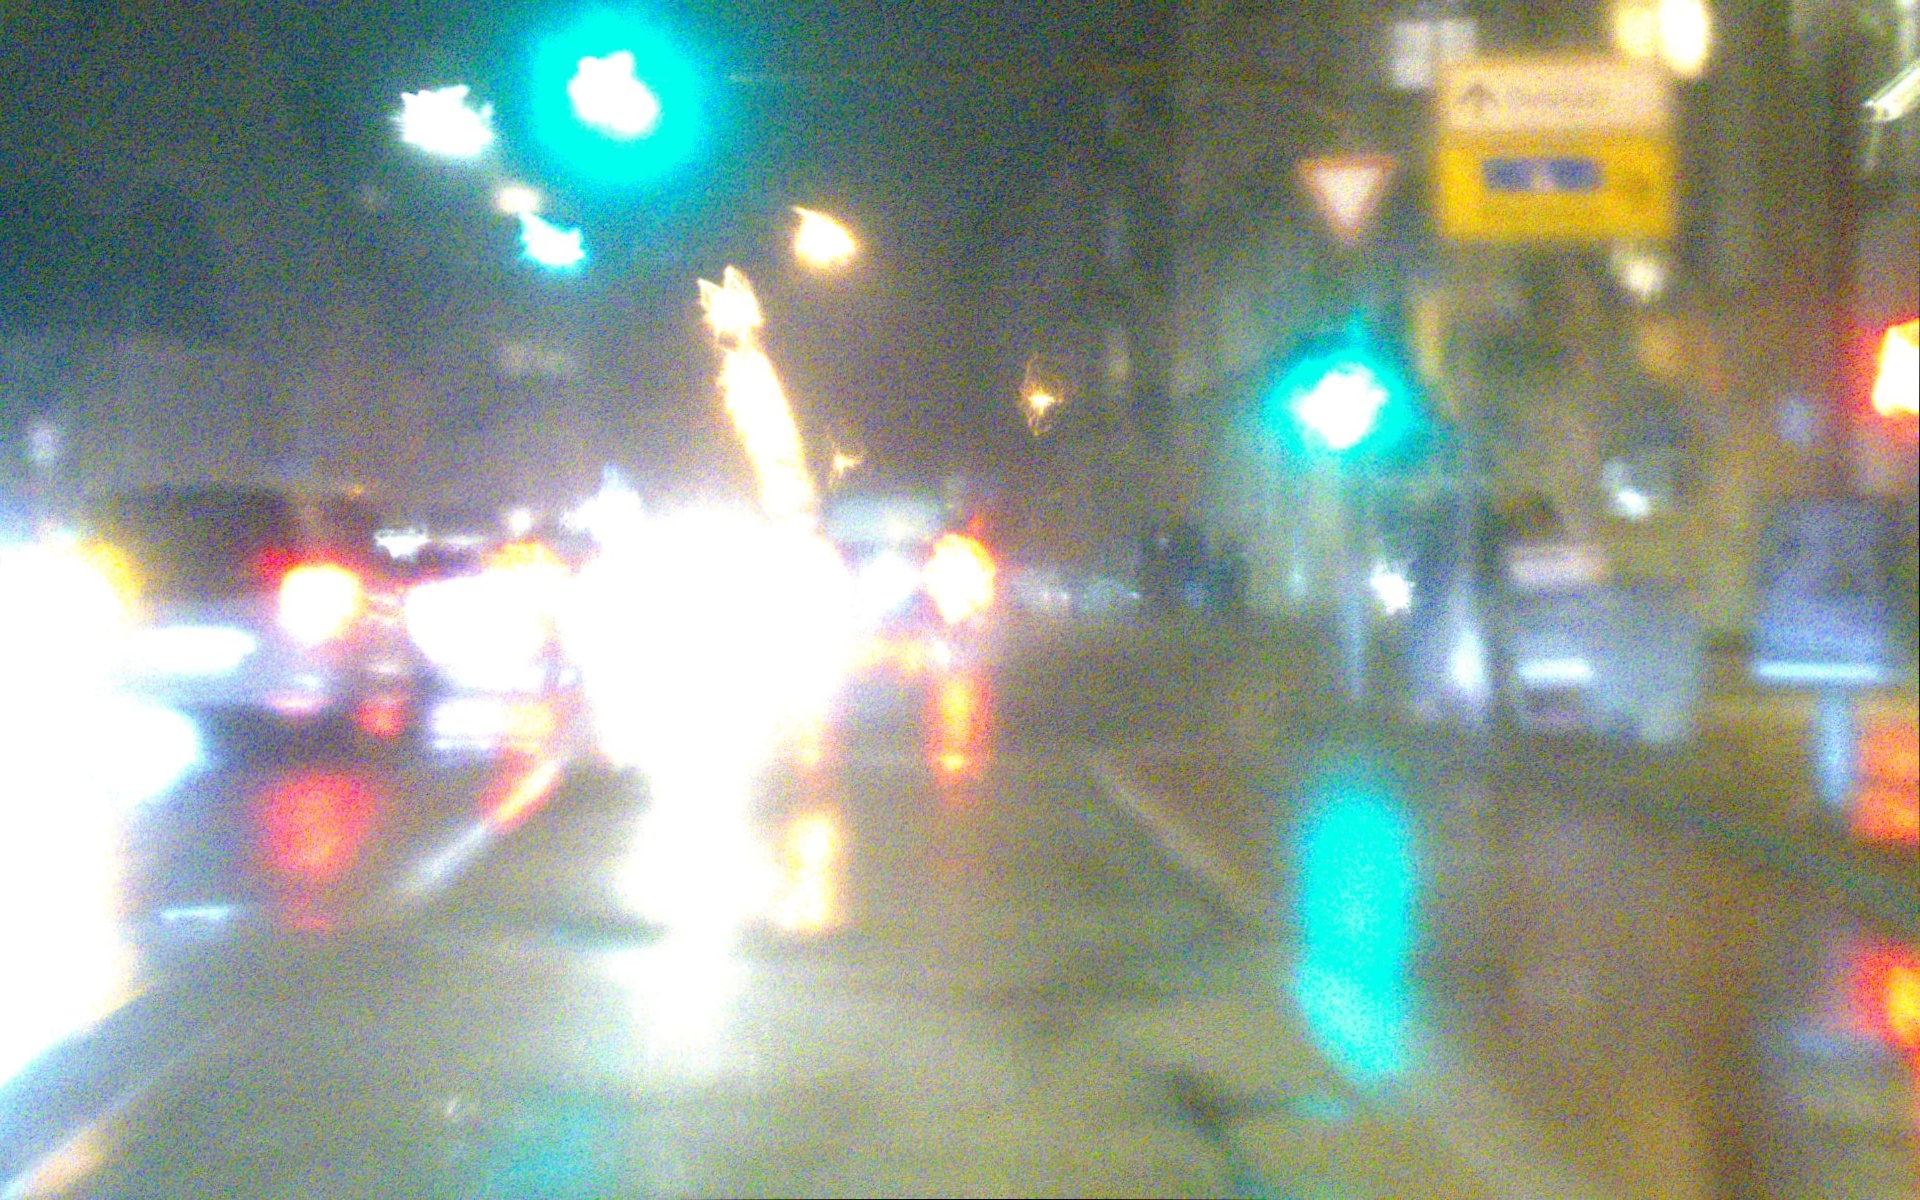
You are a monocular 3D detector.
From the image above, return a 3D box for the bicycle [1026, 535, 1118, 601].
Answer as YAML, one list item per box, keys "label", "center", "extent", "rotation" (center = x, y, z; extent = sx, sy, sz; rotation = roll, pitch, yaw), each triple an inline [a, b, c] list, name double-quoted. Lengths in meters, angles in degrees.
- label: "bicycle"
  center: [2.432, -0.703, 74.738]
  extent: [1.896, 1.355, 0.596]
  rotation: [-2, 1, -7]

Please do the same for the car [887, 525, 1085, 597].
- label: "car"
  center: [0.600, -0.884, 76.819]
  extent: [4.174, 1.452, 1.856]
  rotation: [-3, 2, -40]

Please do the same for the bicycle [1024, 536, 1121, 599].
- label: "bicycle"
  center: [2.359, -0.684, 71.927]
  extent: [1.896, 1.247, 0.711]
  rotation: [-2, 1, -7]

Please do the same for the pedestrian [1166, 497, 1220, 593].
- label: "pedestrian"
  center: [4.574, -1.085, 67.510]
  extent: [0.957, 1.875, 1.000]
  rotation: [-1, 1, -2]

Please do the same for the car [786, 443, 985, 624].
- label: "car"
  center: [-0.925, -0.778, 40.011]
  extent: [2.168, 1.965, 4.302]
  rotation: [-1, 1, -3]

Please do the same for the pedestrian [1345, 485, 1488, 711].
- label: "pedestrian"
  center: [3.727, -0.029, 28.152]
  extent: [1.107, 1.819, 0.851]
  rotation: [0, 2, 4]

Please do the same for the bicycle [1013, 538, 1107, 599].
- label: "bicycle"
  center: [2.152, -0.682, 74.146]
  extent: [1.896, 1.247, 0.596]
  rotation: [-2, 1, -7]

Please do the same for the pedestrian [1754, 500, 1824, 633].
- label: "pedestrian"
  center: [12.965, -0.528, 53.750]
  extent: [0.974, 2.006, 1.015]
  rotation: [0, 4, 18]

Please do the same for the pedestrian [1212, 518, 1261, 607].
- label: "pedestrian"
  center: [5.077, -0.701, 63.118]
  extent: [0.781, 1.612, 1.000]
  rotation: [-1, 1, -2]

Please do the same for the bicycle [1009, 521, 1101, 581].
- label: "bicycle"
  center: [2.062, -1.063, 74.749]
  extent: [1.896, 1.247, 0.596]
  rotation: [-2, 1, -7]

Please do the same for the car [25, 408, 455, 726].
- label: "car"
  center: [-4.960, -0.306, 24.481]
  extent: [2.034, 1.947, 5.201]
  rotation: [-2, 2, -2]

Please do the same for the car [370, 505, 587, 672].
- label: "car"
  center: [-4.704, -0.152, 34.126]
  extent: [1.817, 1.537, 4.727]
  rotation: [0, 1, -4]

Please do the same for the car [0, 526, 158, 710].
- label: "car"
  center: [-8.580, 0.131, 31.559]
  extent: [1.645, 1.506, 4.110]
  rotation: [-3, 2, -3]

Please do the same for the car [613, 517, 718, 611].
- label: "car"
  center: [-4.997, -0.628, 58.375]
  extent: [1.706, 1.537, 3.990]
  rotation: [0, 1, -5]

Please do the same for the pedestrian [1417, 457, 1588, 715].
- label: "pedestrian"
  center: [3.897, -0.111, 24.765]
  extent: [1.107, 1.819, 0.851]
  rotation: [0, 2, 2]

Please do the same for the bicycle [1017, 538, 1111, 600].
- label: "bicycle"
  center: [2.222, -0.656, 73.475]
  extent: [1.896, 1.247, 0.596]
  rotation: [-2, 1, -7]
